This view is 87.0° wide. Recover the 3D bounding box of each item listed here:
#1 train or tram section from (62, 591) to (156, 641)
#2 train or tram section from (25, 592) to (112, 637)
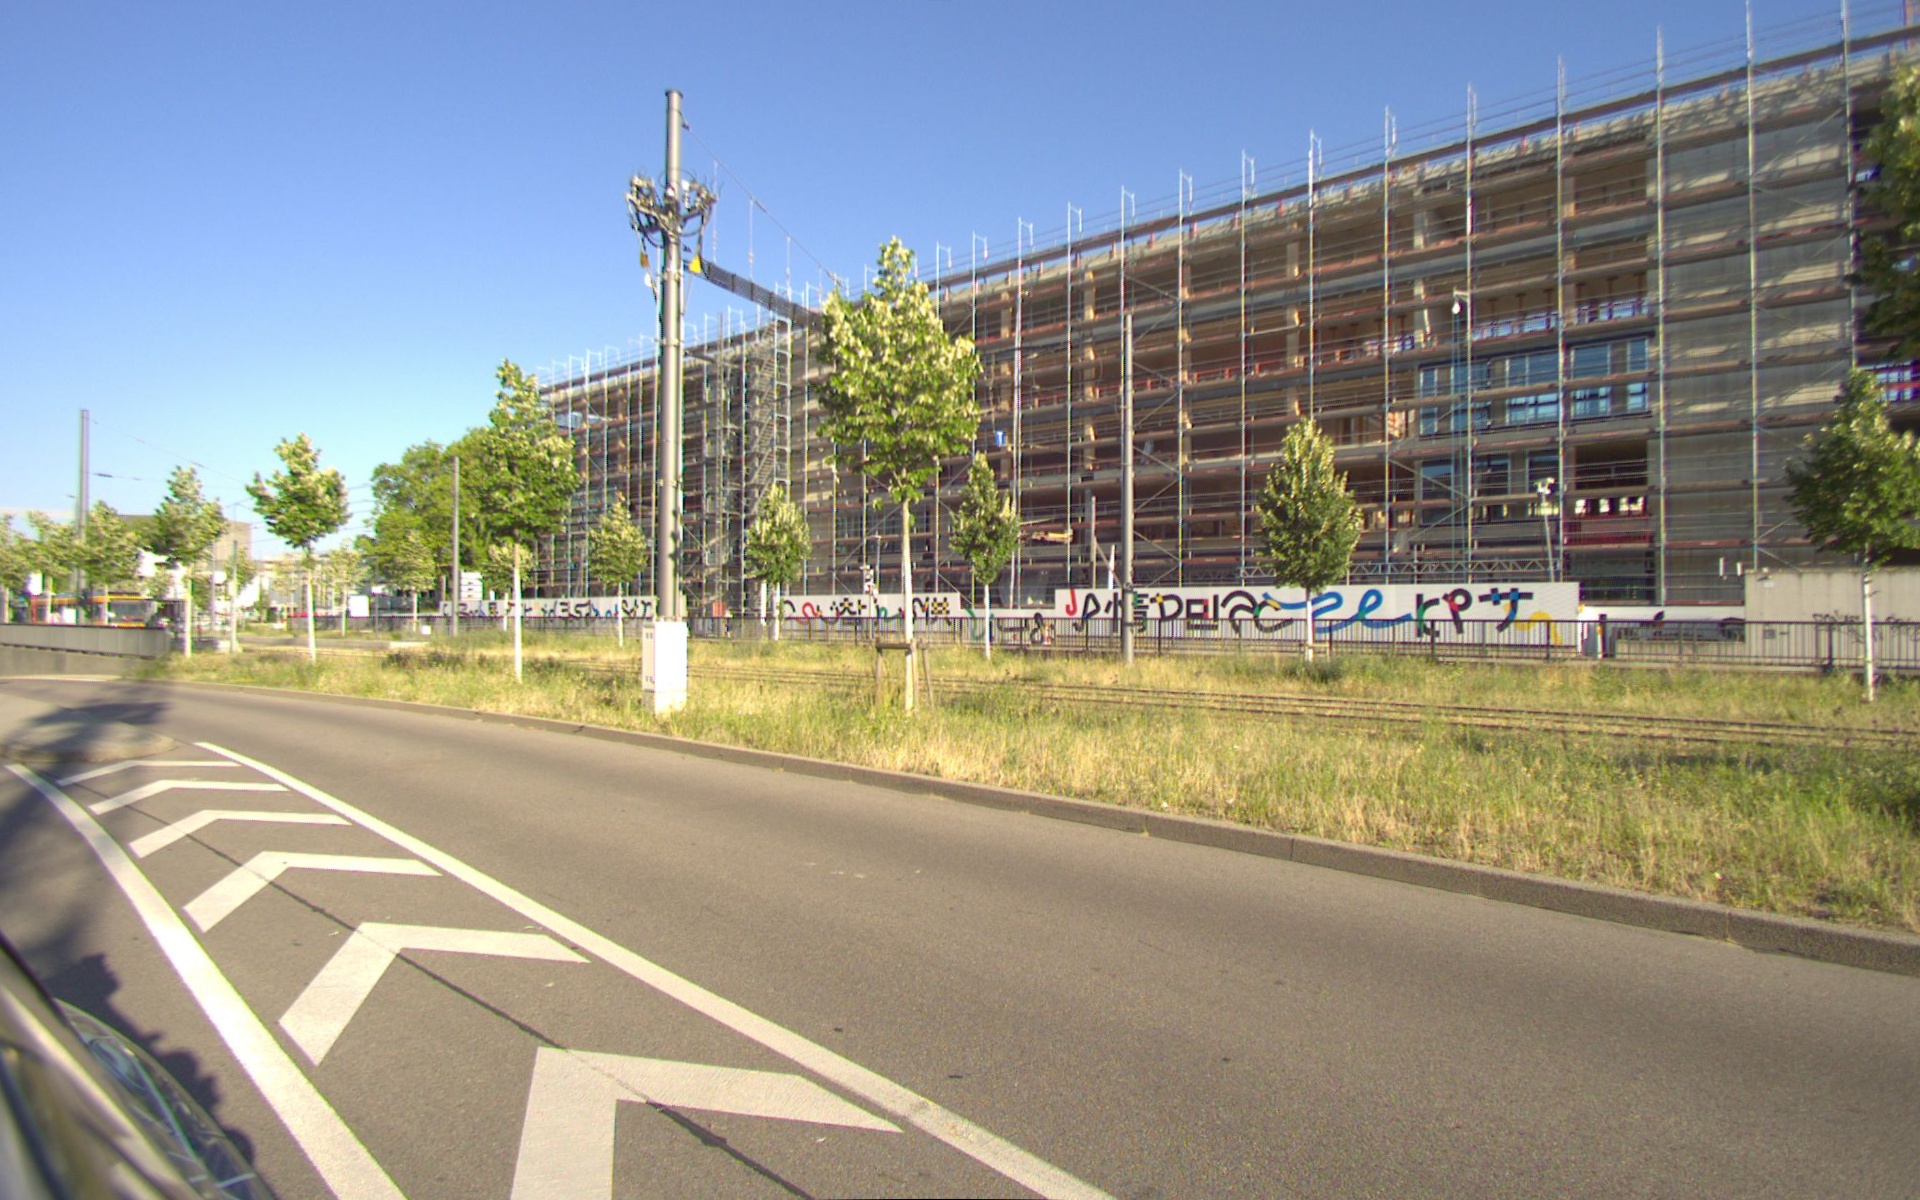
[{"bbox_3d":[-62.672,1.150,74.378,12.619,3.423,2.917,-1,0,39],"label":"train or tram section"},{"bbox_3d":[-73.282,1.176,83.008,14.749,3.423,2.917,-1,0,39],"label":"train or tram section"}]
